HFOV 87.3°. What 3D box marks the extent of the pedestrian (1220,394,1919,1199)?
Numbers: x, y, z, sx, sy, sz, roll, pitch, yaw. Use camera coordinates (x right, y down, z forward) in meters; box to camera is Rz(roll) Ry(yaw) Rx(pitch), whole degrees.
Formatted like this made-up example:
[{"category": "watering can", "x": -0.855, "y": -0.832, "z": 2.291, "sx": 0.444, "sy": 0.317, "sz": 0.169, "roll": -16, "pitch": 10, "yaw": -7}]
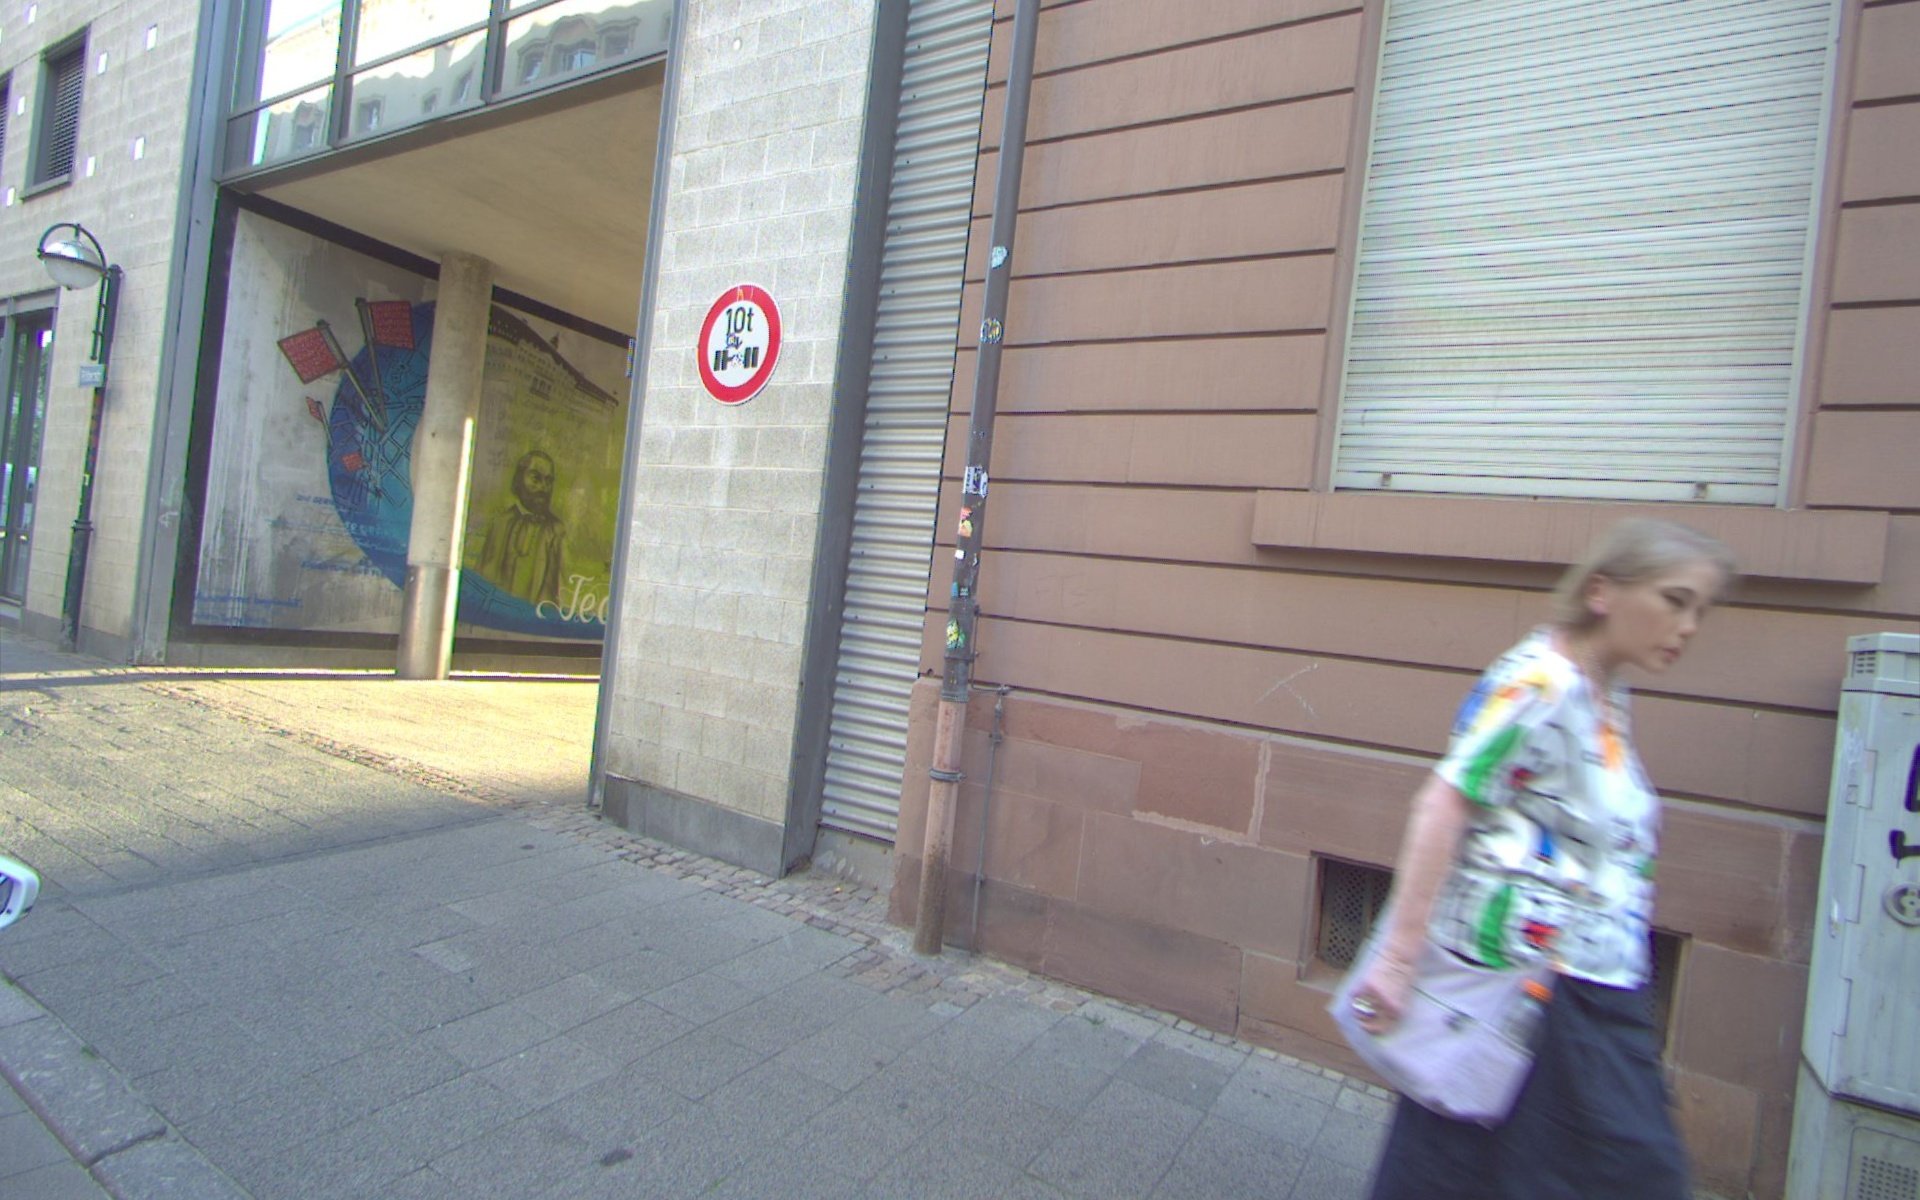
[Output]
[{"category": "pedestrian", "x": 1.127, "y": 0.619, "z": 1.917, "sx": 0.883, "sy": 1.828, "sz": 0.844, "roll": 7, "pitch": 4, "yaw": 37}]
